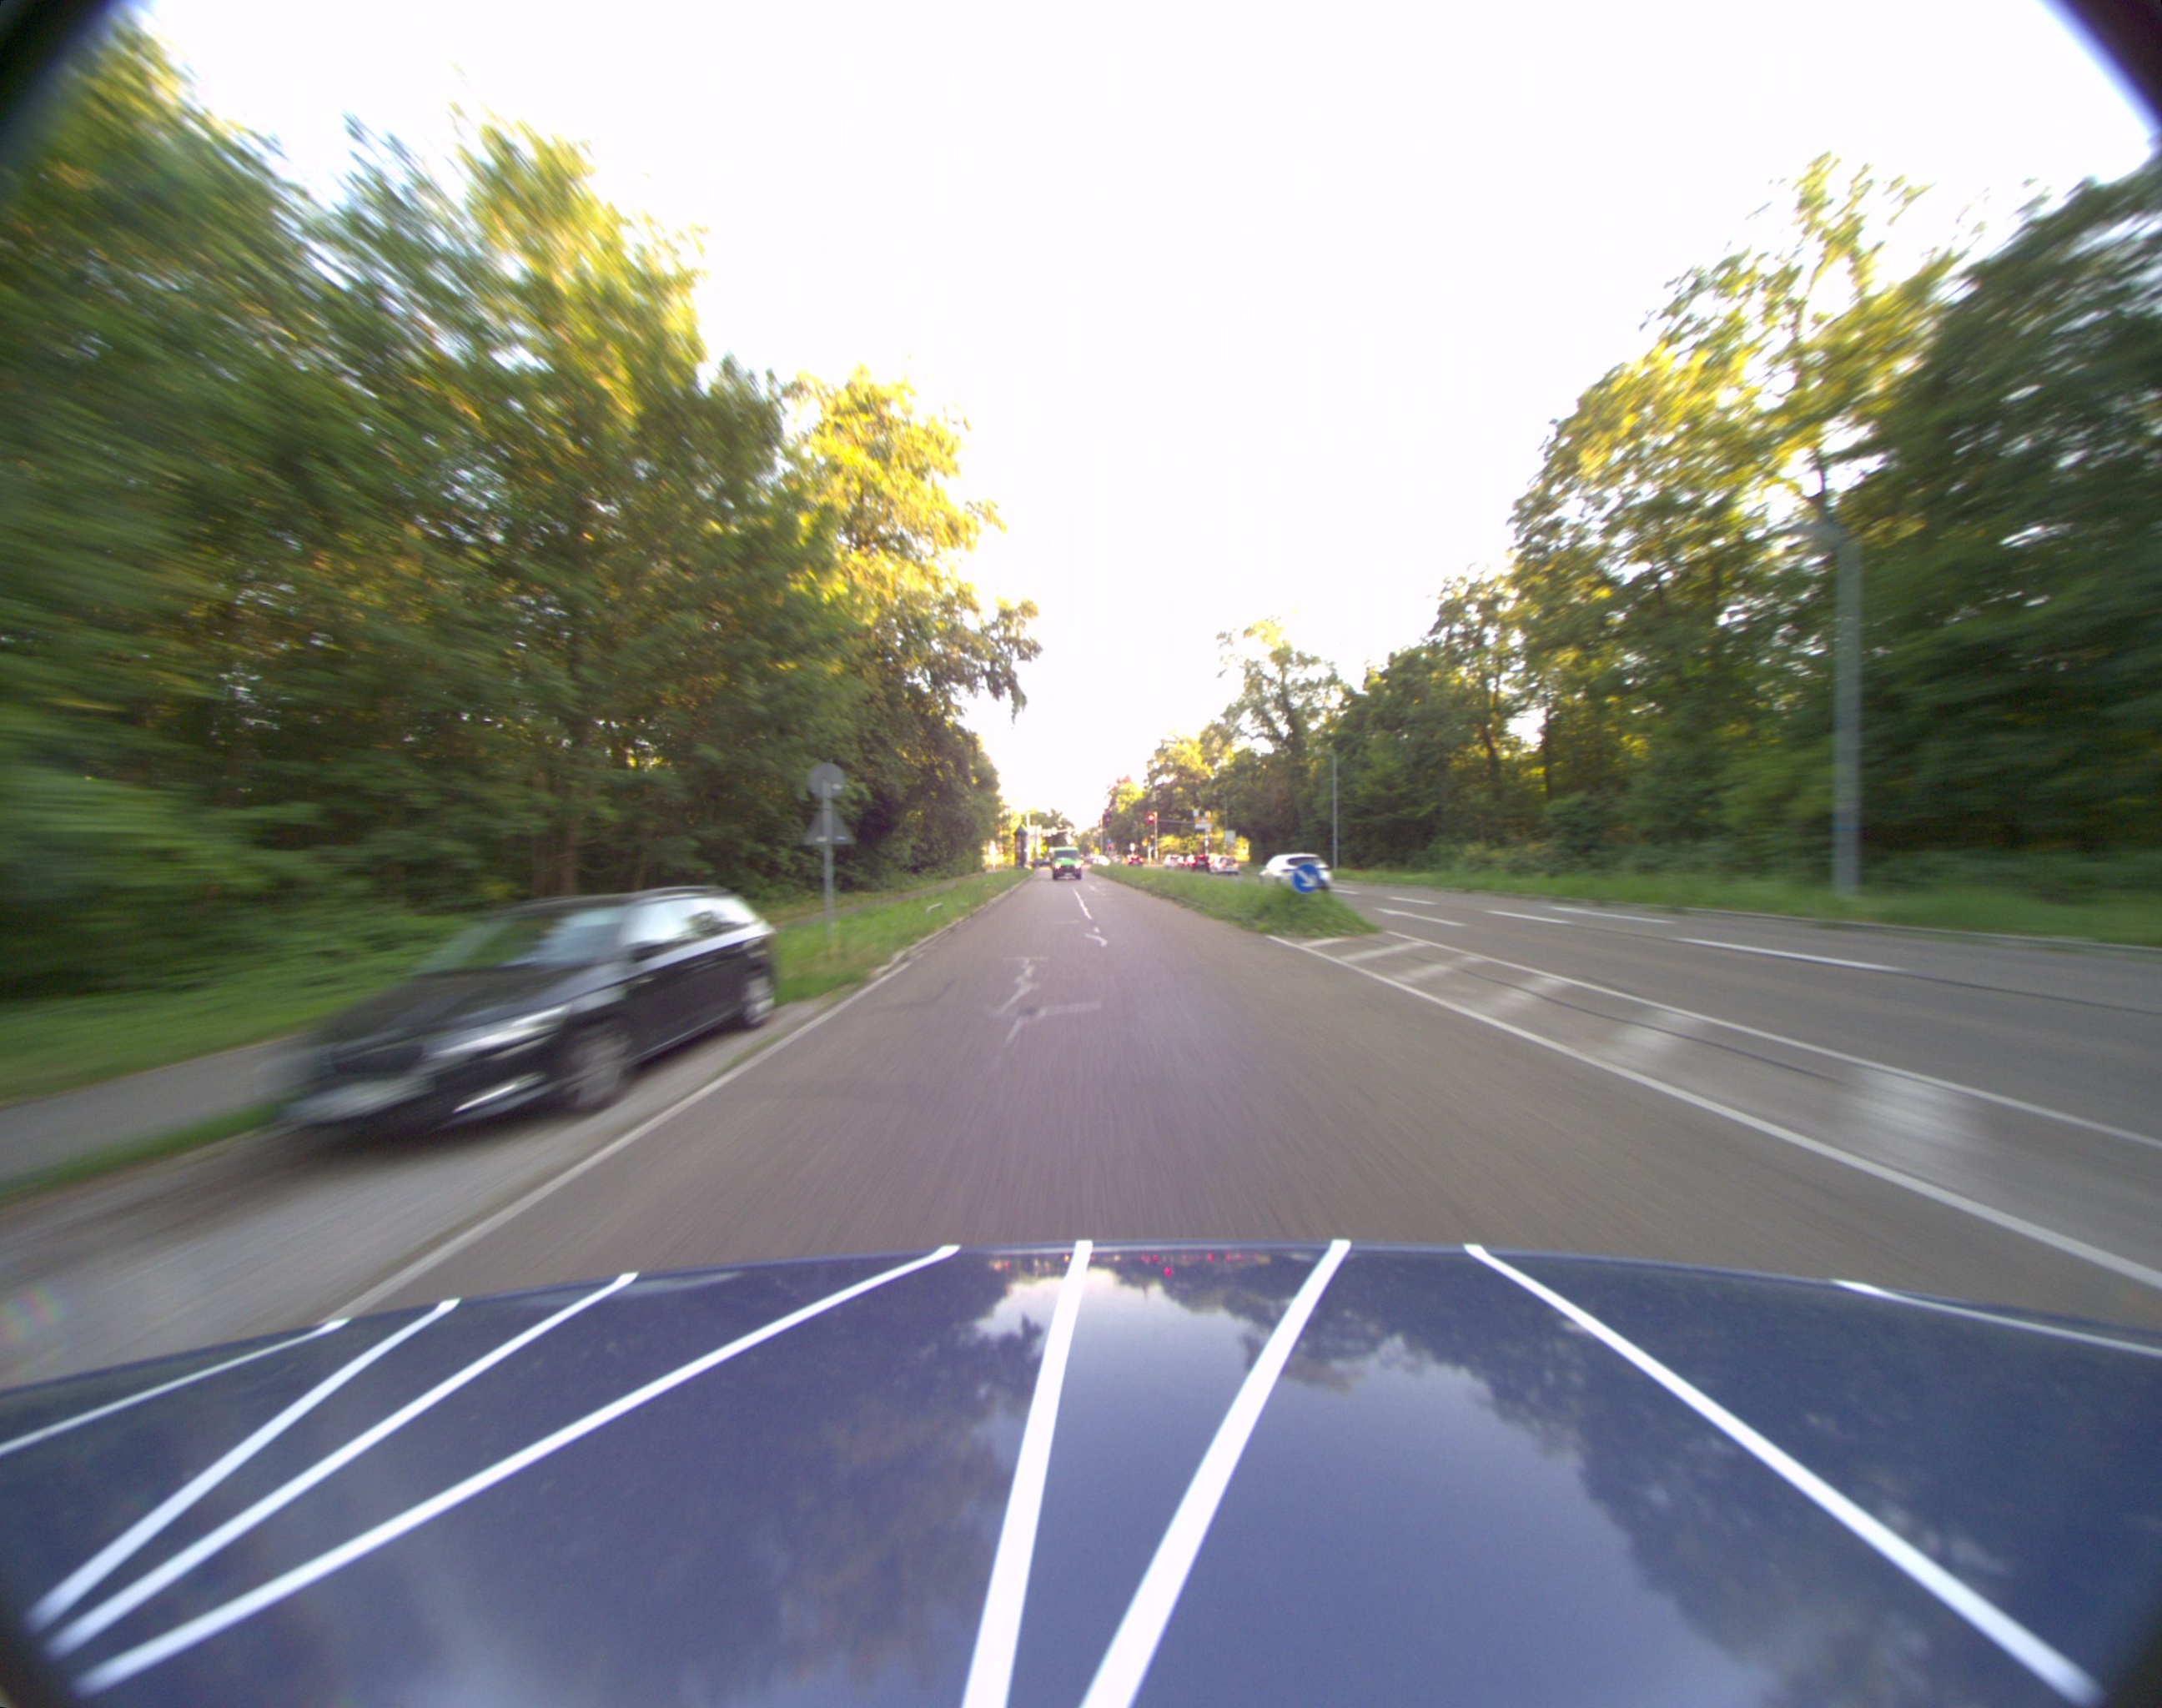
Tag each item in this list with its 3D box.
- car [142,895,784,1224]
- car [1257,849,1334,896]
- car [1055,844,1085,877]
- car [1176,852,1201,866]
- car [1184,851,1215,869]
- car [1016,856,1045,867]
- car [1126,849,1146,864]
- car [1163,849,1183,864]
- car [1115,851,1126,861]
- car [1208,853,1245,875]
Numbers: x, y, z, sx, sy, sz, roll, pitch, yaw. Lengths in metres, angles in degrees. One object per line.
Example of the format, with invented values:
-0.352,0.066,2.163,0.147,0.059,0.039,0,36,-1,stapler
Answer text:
-4.020,1.192,5.968,1.667,1.397,3.942,-4,0,1,car
7.816,0.625,28.030,1.840,1.499,3.937,-1,2,2,car
-0.833,0.454,56.320,2.044,2.264,5.940,-2,0,-1,car
11.043,0.497,78.370,1.828,1.471,4.232,0,0,-2,car
10.919,0.502,70.454,1.999,1.618,4.650,0,0,-2,car
-7.072,1.048,107.252,3.998,1.527,1.661,-1,0,-3,car
6.413,0.286,89.114,1.818,1.618,4.450,0,0,-2,car
10.450,0.299,86.737,1.826,1.604,4.641,1,0,1,car
7.722,0.333,148.785,1.862,1.835,4.119,-1,0,-3,car
11.029,0.731,57.892,1.999,1.450,3.809,-1,2,-1,car
